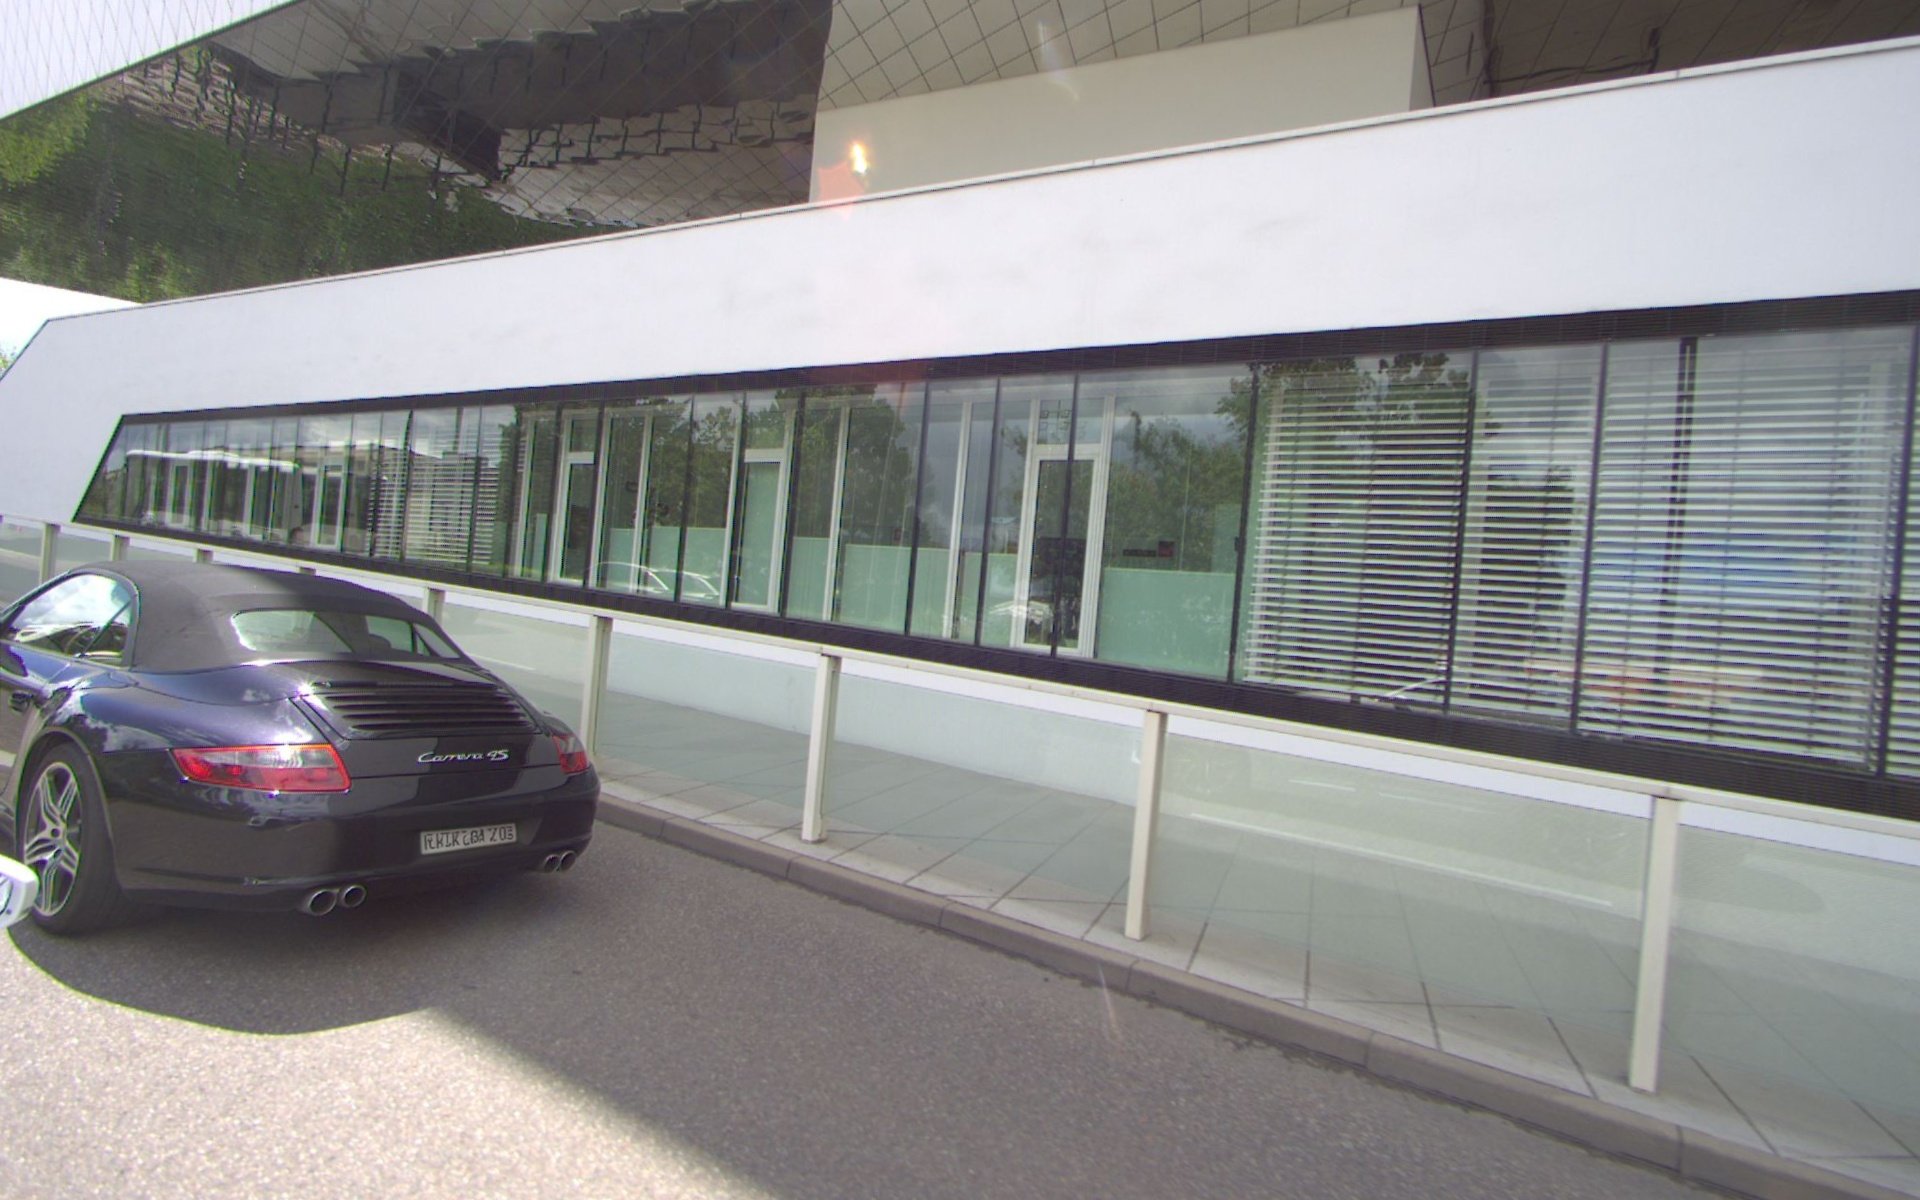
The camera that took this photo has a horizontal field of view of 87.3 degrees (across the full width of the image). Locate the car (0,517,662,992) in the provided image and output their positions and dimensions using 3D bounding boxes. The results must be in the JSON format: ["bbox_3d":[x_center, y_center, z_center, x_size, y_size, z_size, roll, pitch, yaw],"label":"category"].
[{"bbox_3d":[-3.521,0.392,4.728,4.020,1.290,1.723,6,-1,31],"label":"car"}]
